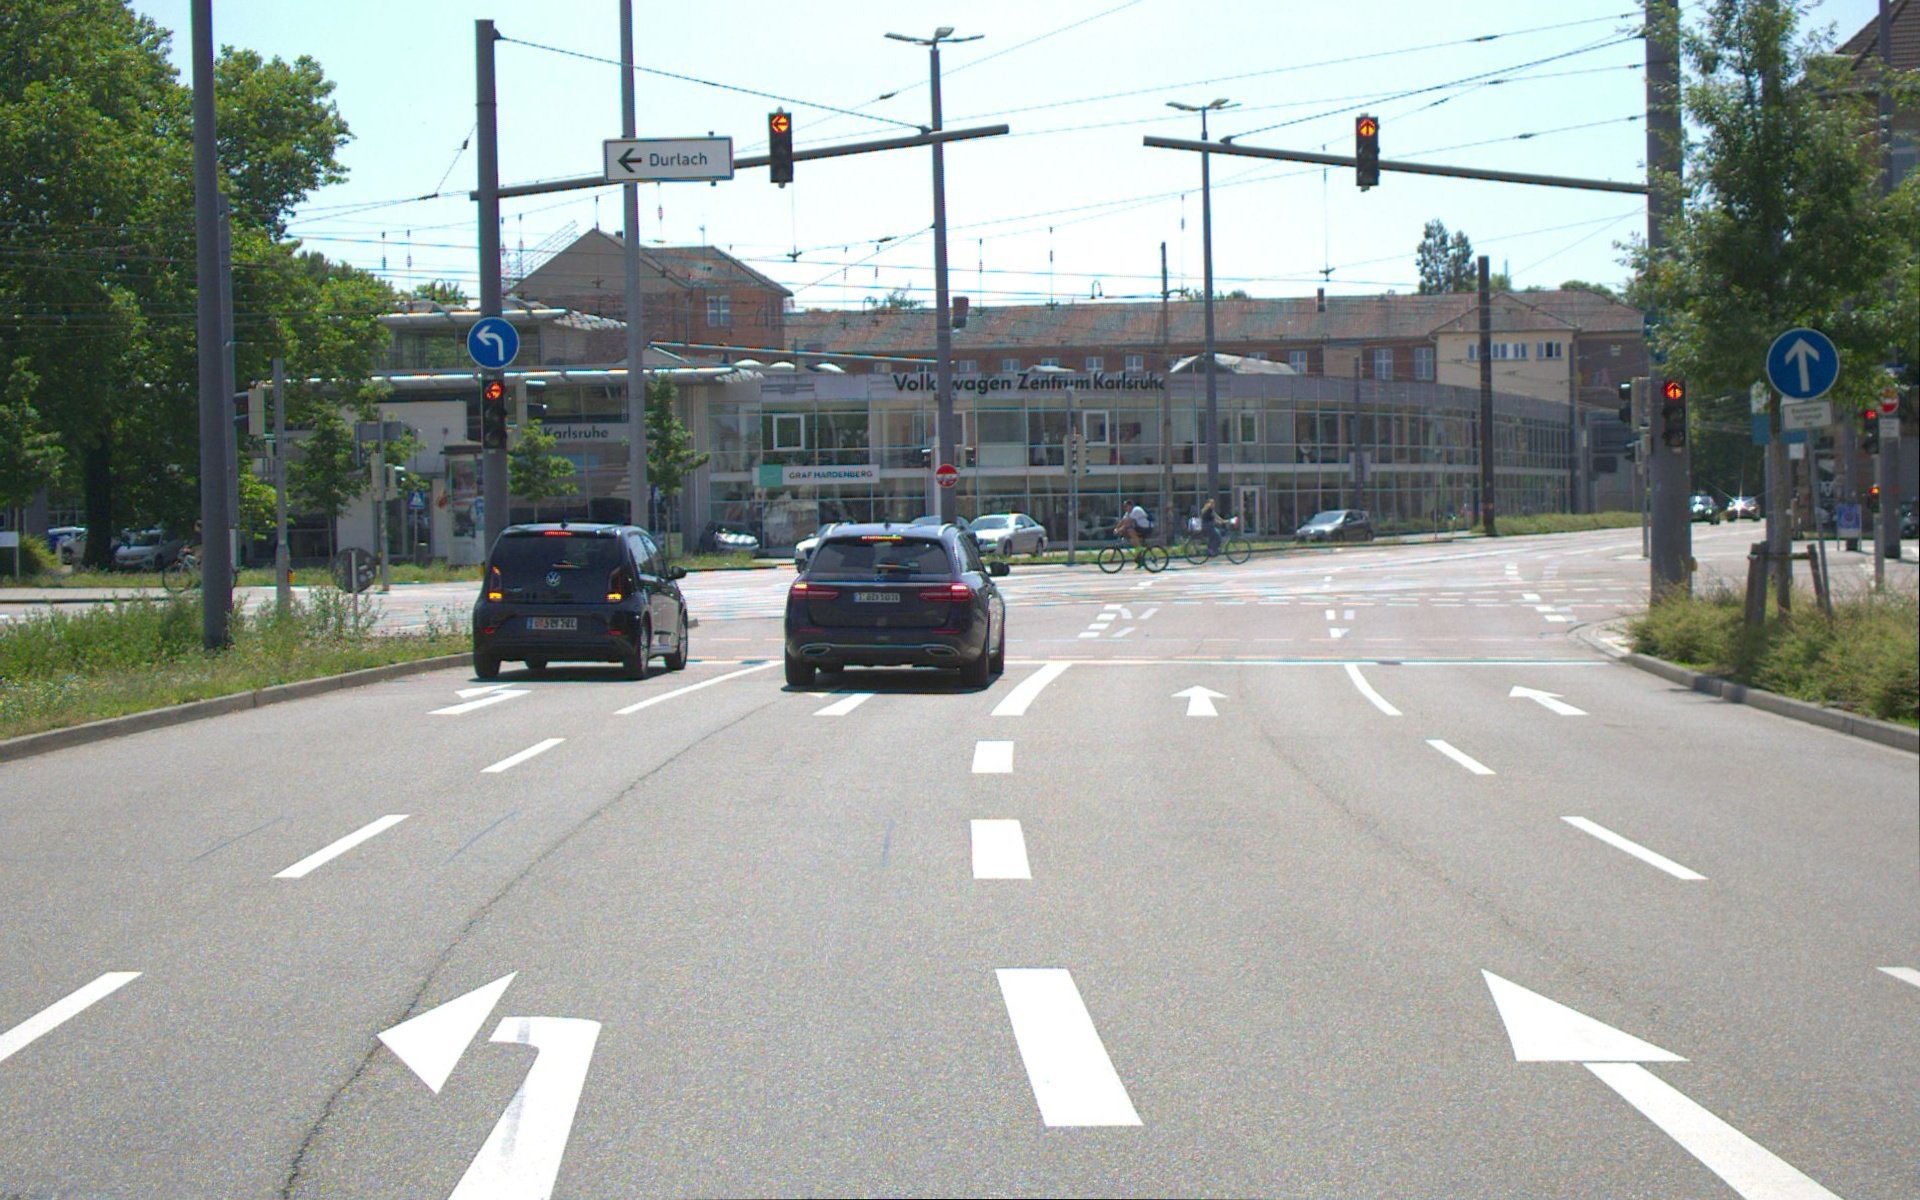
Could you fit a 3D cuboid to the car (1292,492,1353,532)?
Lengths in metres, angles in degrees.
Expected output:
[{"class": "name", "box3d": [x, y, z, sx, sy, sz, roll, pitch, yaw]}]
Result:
[{"class": "car", "box3d": [14.411, -3.505, 136.544, 1.572, 1.422, 3.610, 1, 4, 20]}]

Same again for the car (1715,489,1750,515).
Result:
[{"class": "car", "box3d": [48.223, -6.130, 214.712, 1.586, 1.523, 3.715, 0, 3, 5]}]

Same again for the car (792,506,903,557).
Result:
[{"class": "car", "box3d": [-3.130, -1.940, 96.841, 1.621, 1.385, 4.120, 0, 2, 21]}]

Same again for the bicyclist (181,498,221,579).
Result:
[{"class": "bicyclist", "box3d": [-18.573, -1.505, 84.113, 0.846, 1.958, 0.626, 0, 3, -3]}]

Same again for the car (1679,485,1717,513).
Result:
[{"class": "car", "box3d": [41.247, -5.643, 192.185, 1.531, 1.454, 3.552, 0, 3, 4]}]

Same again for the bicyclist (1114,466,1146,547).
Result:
[{"class": "bicyclist", "box3d": [4.117, -2.272, 83.068, 0.763, 1.931, 0.660, 0, 3, 3]}]

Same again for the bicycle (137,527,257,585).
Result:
[{"class": "bicycle", "box3d": [-18.655, -1.074, 84.136, 2.774, 1.380, 0.671, 0, 3, -3]}]

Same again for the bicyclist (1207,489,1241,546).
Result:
[{"class": "bicyclist", "box3d": [6.998, -2.200, 91.145, 0.731, 1.474, 0.656, -1, 3, -14]}]

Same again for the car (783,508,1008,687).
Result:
[{"class": "car", "box3d": [-0.533, -0.077, 32.462, 1.717, 1.551, 4.586, -1, 1, 4]}]

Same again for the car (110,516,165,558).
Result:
[{"class": "car", "box3d": [-32.603, -2.512, 136.396, 1.424, 1.503, 3.439, 0, 3, -1]}]

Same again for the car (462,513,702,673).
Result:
[{"class": "car", "box3d": [-3.628, -0.110, 33.626, 1.621, 1.458, 4.000, 0, 1, 4]}]

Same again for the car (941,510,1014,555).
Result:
[{"class": "car", "box3d": [0.571, -2.150, 108.764, 1.432, 1.281, 3.259, 1, 4, 17]}]

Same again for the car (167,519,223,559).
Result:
[{"class": "car", "box3d": [-30.223, -2.434, 135.835, 1.510, 1.413, 3.422, 0, 4, -1]}]

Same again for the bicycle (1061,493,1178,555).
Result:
[{"class": "bicycle", "box3d": [3.852, -1.840, 83.114, 2.826, 1.458, 0.634, 0, 3, 3]}]

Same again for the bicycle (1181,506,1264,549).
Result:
[{"class": "bicycle", "box3d": [6.972, -1.919, 91.157, 2.160, 1.103, 0.457, -1, 3, -13]}]

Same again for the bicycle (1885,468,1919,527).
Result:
[{"class": "bicycle", "box3d": [30.123, -3.291, 109.616, 0.612, 1.782, 3.181, 0, 3, 5]}]
